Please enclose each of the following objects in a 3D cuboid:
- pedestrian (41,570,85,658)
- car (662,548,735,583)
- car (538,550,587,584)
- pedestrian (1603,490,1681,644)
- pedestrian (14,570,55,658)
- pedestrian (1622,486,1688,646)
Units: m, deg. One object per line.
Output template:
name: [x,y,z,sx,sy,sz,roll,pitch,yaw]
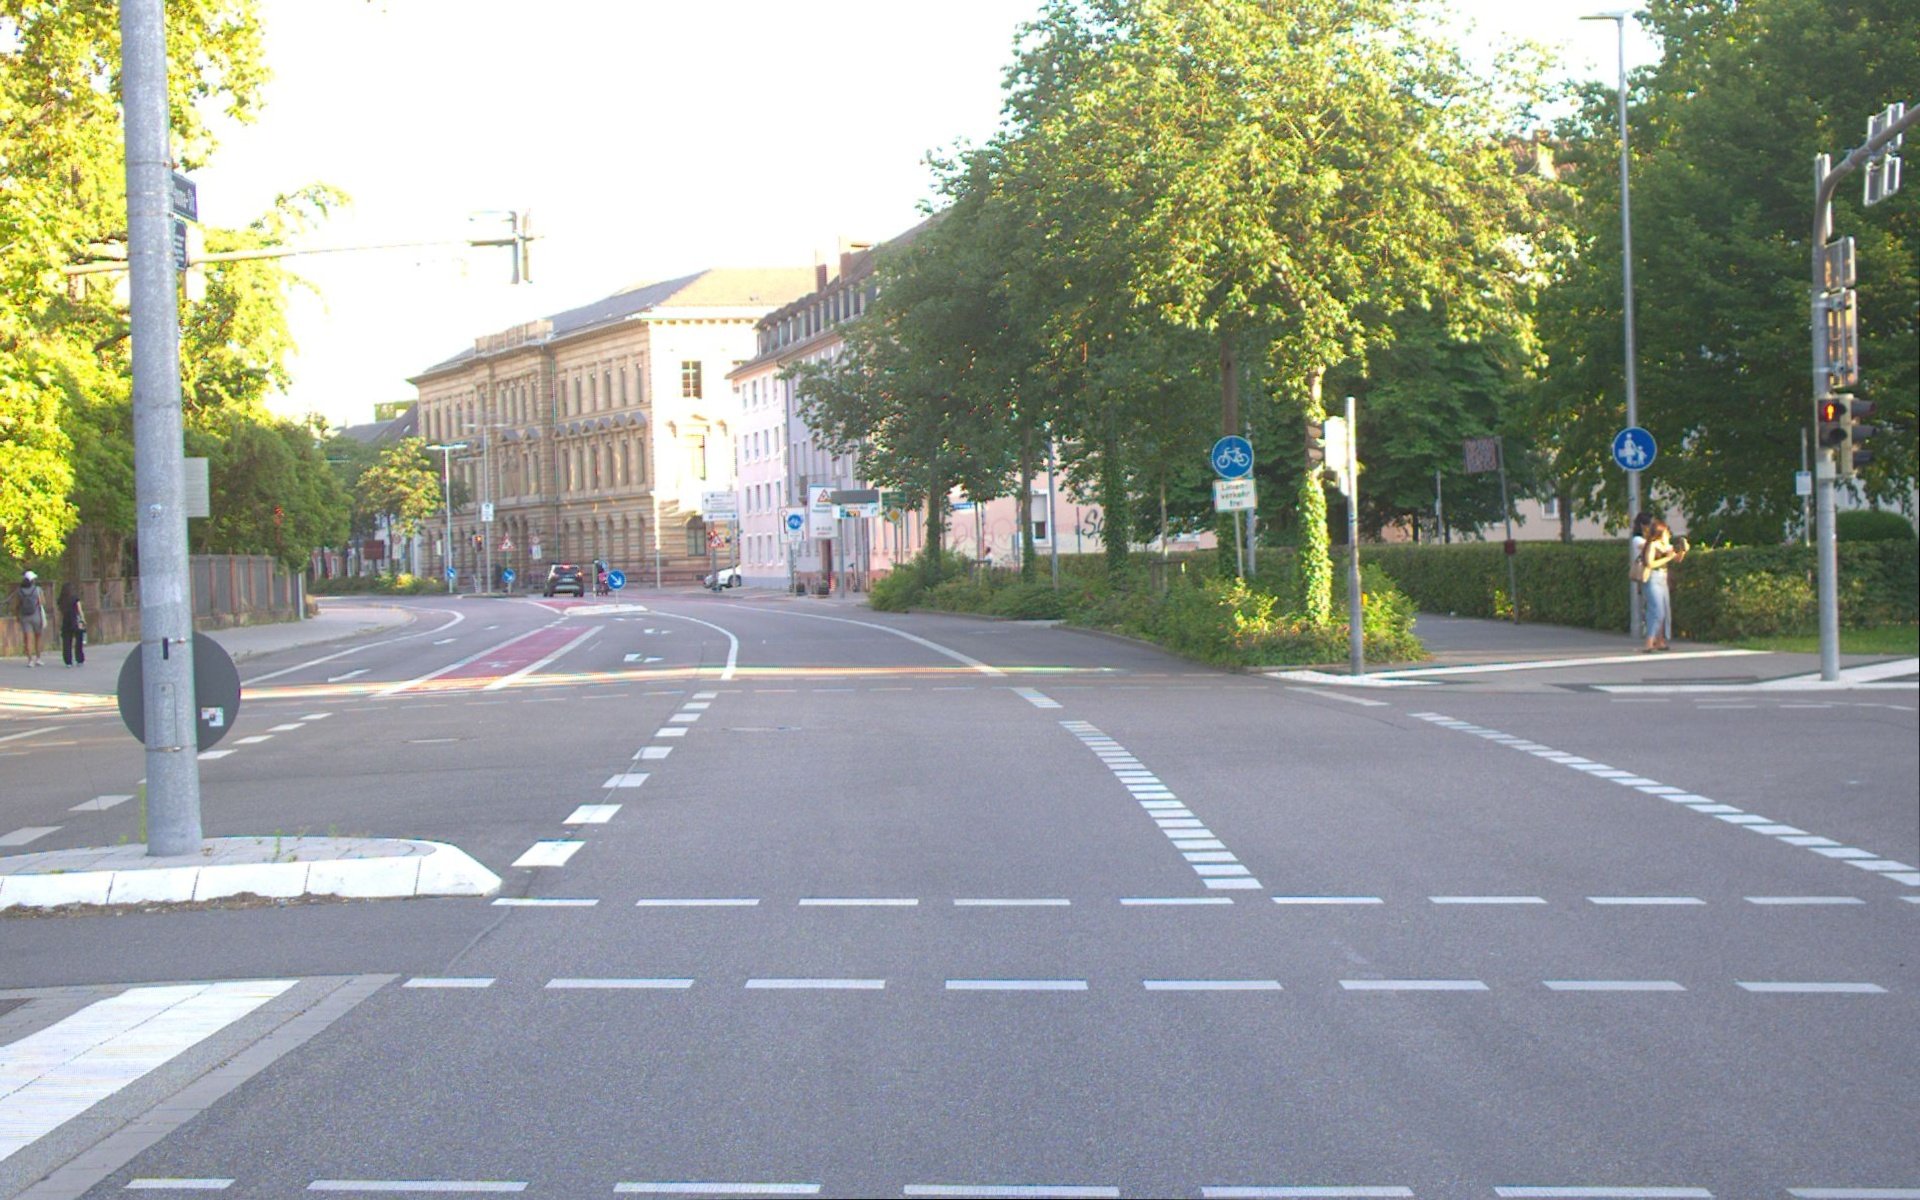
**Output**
pedestrian: [-16.378,0.254,62.770,0.599,1.568,0.646,-2,1,-1]
car: [-15.240,-1.999,200.813,3.987,2.007,2.000,0,1,4]
car: [-19.641,-1.650,169.733,1.819,1.583,4.001,-3,1,-14]
pedestrian: [8.943,-0.433,45.108,0.870,2.007,0.722,0,1,-1]
pedestrian: [-16.893,0.251,62.770,0.535,1.591,0.590,-2,1,-1]
pedestrian: [8.817,-0.432,43.623,0.635,2.007,0.720,-1,1,-4]
